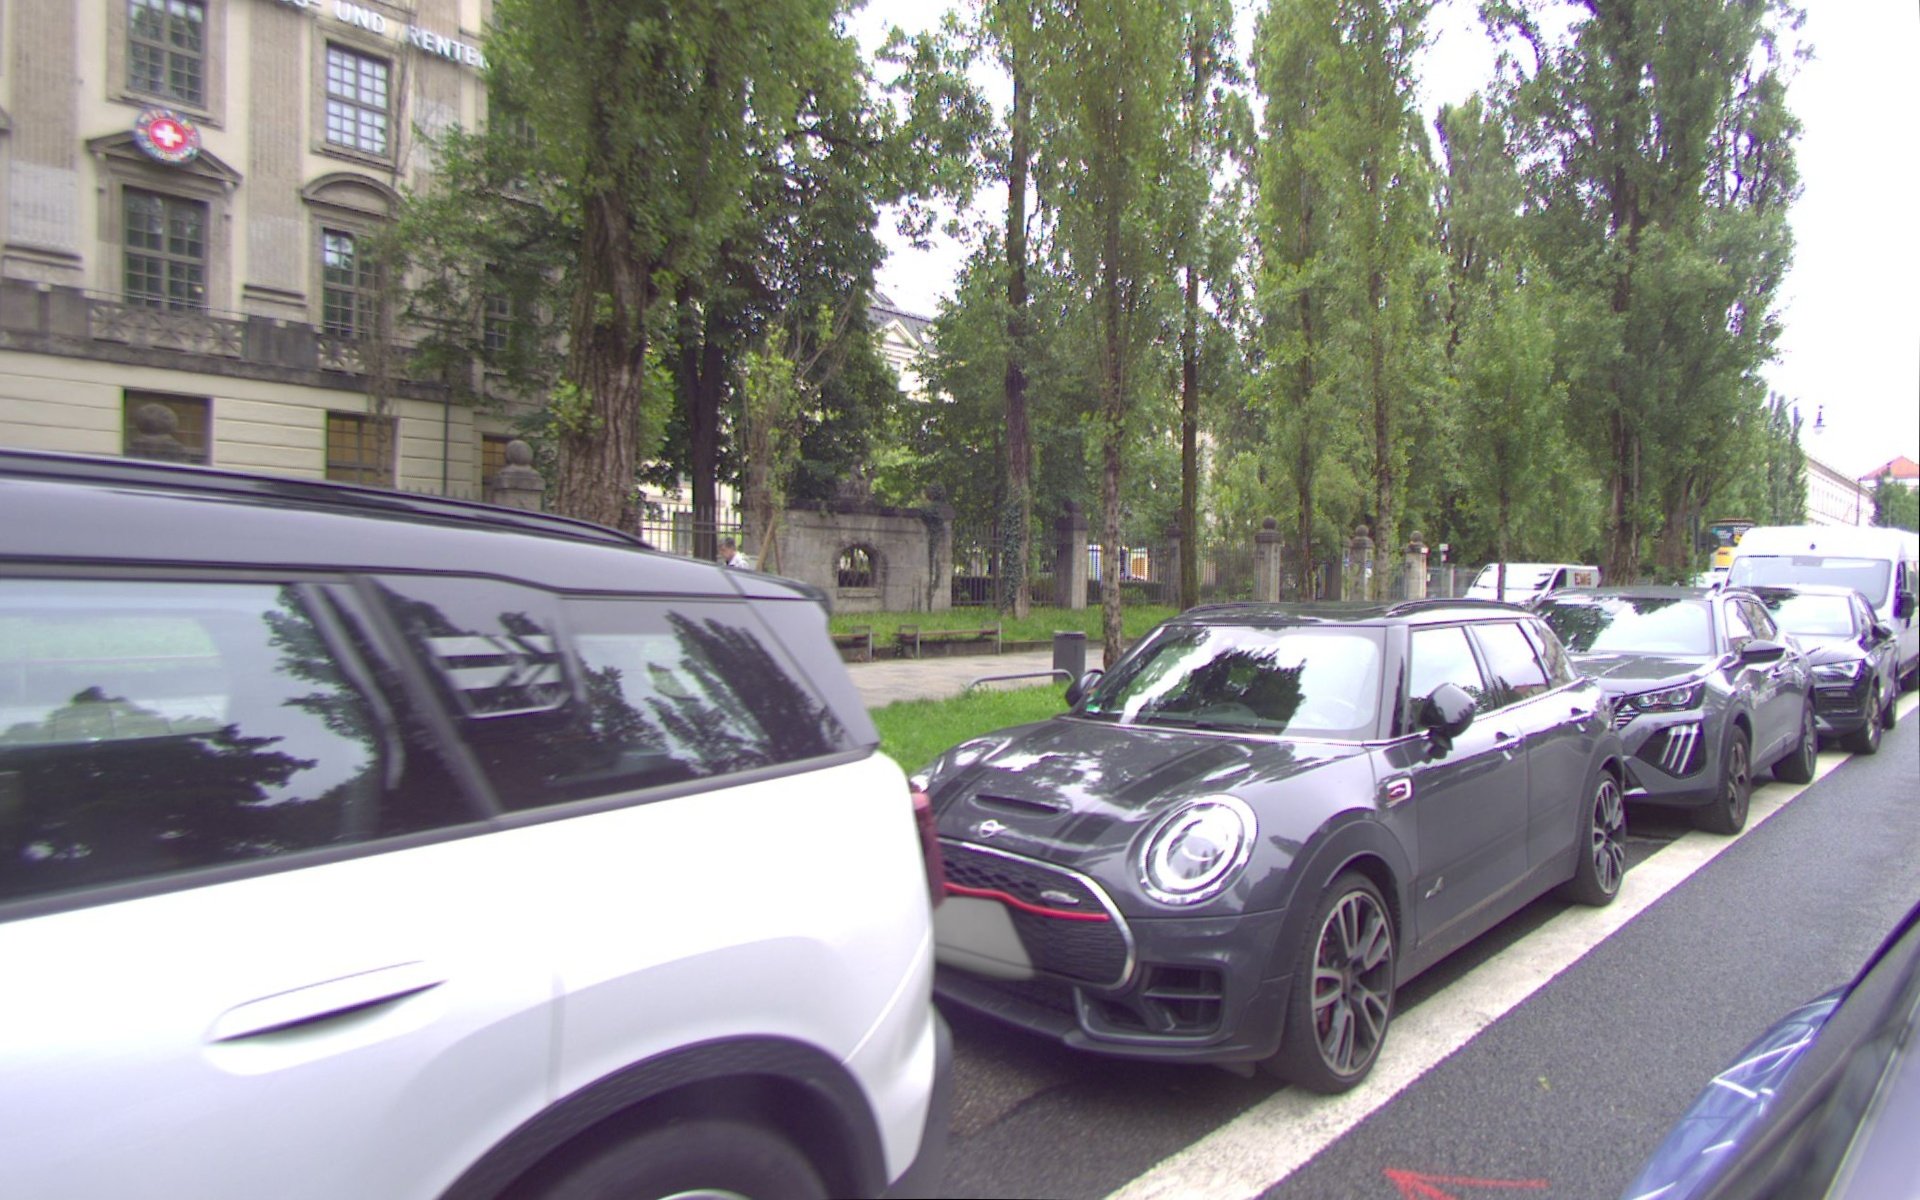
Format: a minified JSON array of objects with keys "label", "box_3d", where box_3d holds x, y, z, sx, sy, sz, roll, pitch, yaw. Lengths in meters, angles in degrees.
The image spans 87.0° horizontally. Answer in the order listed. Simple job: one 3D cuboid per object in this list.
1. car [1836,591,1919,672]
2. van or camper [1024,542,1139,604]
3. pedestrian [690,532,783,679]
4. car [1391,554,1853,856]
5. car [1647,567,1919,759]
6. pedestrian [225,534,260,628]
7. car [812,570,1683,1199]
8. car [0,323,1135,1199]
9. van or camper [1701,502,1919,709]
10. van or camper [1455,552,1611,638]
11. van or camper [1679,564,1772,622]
[{"label":"car","box_3d":[18.686,0.565,19.997,3.933,1.437,1.678,0,2,-43]},{"label":"van or camper","box_3d":[5.630,-1.306,47.649,2.210,2.740,5.219,0,2,-41]},{"label":"pedestrian","box_3d":[-2.852,0.058,12.915,0.879,1.790,0.797,0,1,-40]},{"label":"car","box_3d":[5.208,0.540,7.669,4.558,1.638,1.787,0,2,-42]},{"label":"car","box_3d":[9.108,0.528,11.037,4.344,1.669,1.786,0,2,-44]},{"label":"pedestrian","box_3d":[-14.717,-0.389,20.763,0.495,1.885,0.637,0,2,-43]},{"label":"car","box_3d":[1.600,0.686,4.484,4.221,1.538,1.705,0,2,-42]},{"label":"car","box_3d":[-1.921,0.572,1.147,4.501,1.696,1.746,0,2,-42]},{"label":"van or camper","box_3d":[13.478,0.022,15.498,6.306,2.572,2.142,0,2,-42]},{"label":"van or camper","box_3d":[14.499,-0.124,25.497,4.952,1.958,1.978,0,1,-42]},{"label":"van or camper","box_3d":[28.897,-0.266,38.123,4.902,2.039,2.005,0,1,-43]}]
